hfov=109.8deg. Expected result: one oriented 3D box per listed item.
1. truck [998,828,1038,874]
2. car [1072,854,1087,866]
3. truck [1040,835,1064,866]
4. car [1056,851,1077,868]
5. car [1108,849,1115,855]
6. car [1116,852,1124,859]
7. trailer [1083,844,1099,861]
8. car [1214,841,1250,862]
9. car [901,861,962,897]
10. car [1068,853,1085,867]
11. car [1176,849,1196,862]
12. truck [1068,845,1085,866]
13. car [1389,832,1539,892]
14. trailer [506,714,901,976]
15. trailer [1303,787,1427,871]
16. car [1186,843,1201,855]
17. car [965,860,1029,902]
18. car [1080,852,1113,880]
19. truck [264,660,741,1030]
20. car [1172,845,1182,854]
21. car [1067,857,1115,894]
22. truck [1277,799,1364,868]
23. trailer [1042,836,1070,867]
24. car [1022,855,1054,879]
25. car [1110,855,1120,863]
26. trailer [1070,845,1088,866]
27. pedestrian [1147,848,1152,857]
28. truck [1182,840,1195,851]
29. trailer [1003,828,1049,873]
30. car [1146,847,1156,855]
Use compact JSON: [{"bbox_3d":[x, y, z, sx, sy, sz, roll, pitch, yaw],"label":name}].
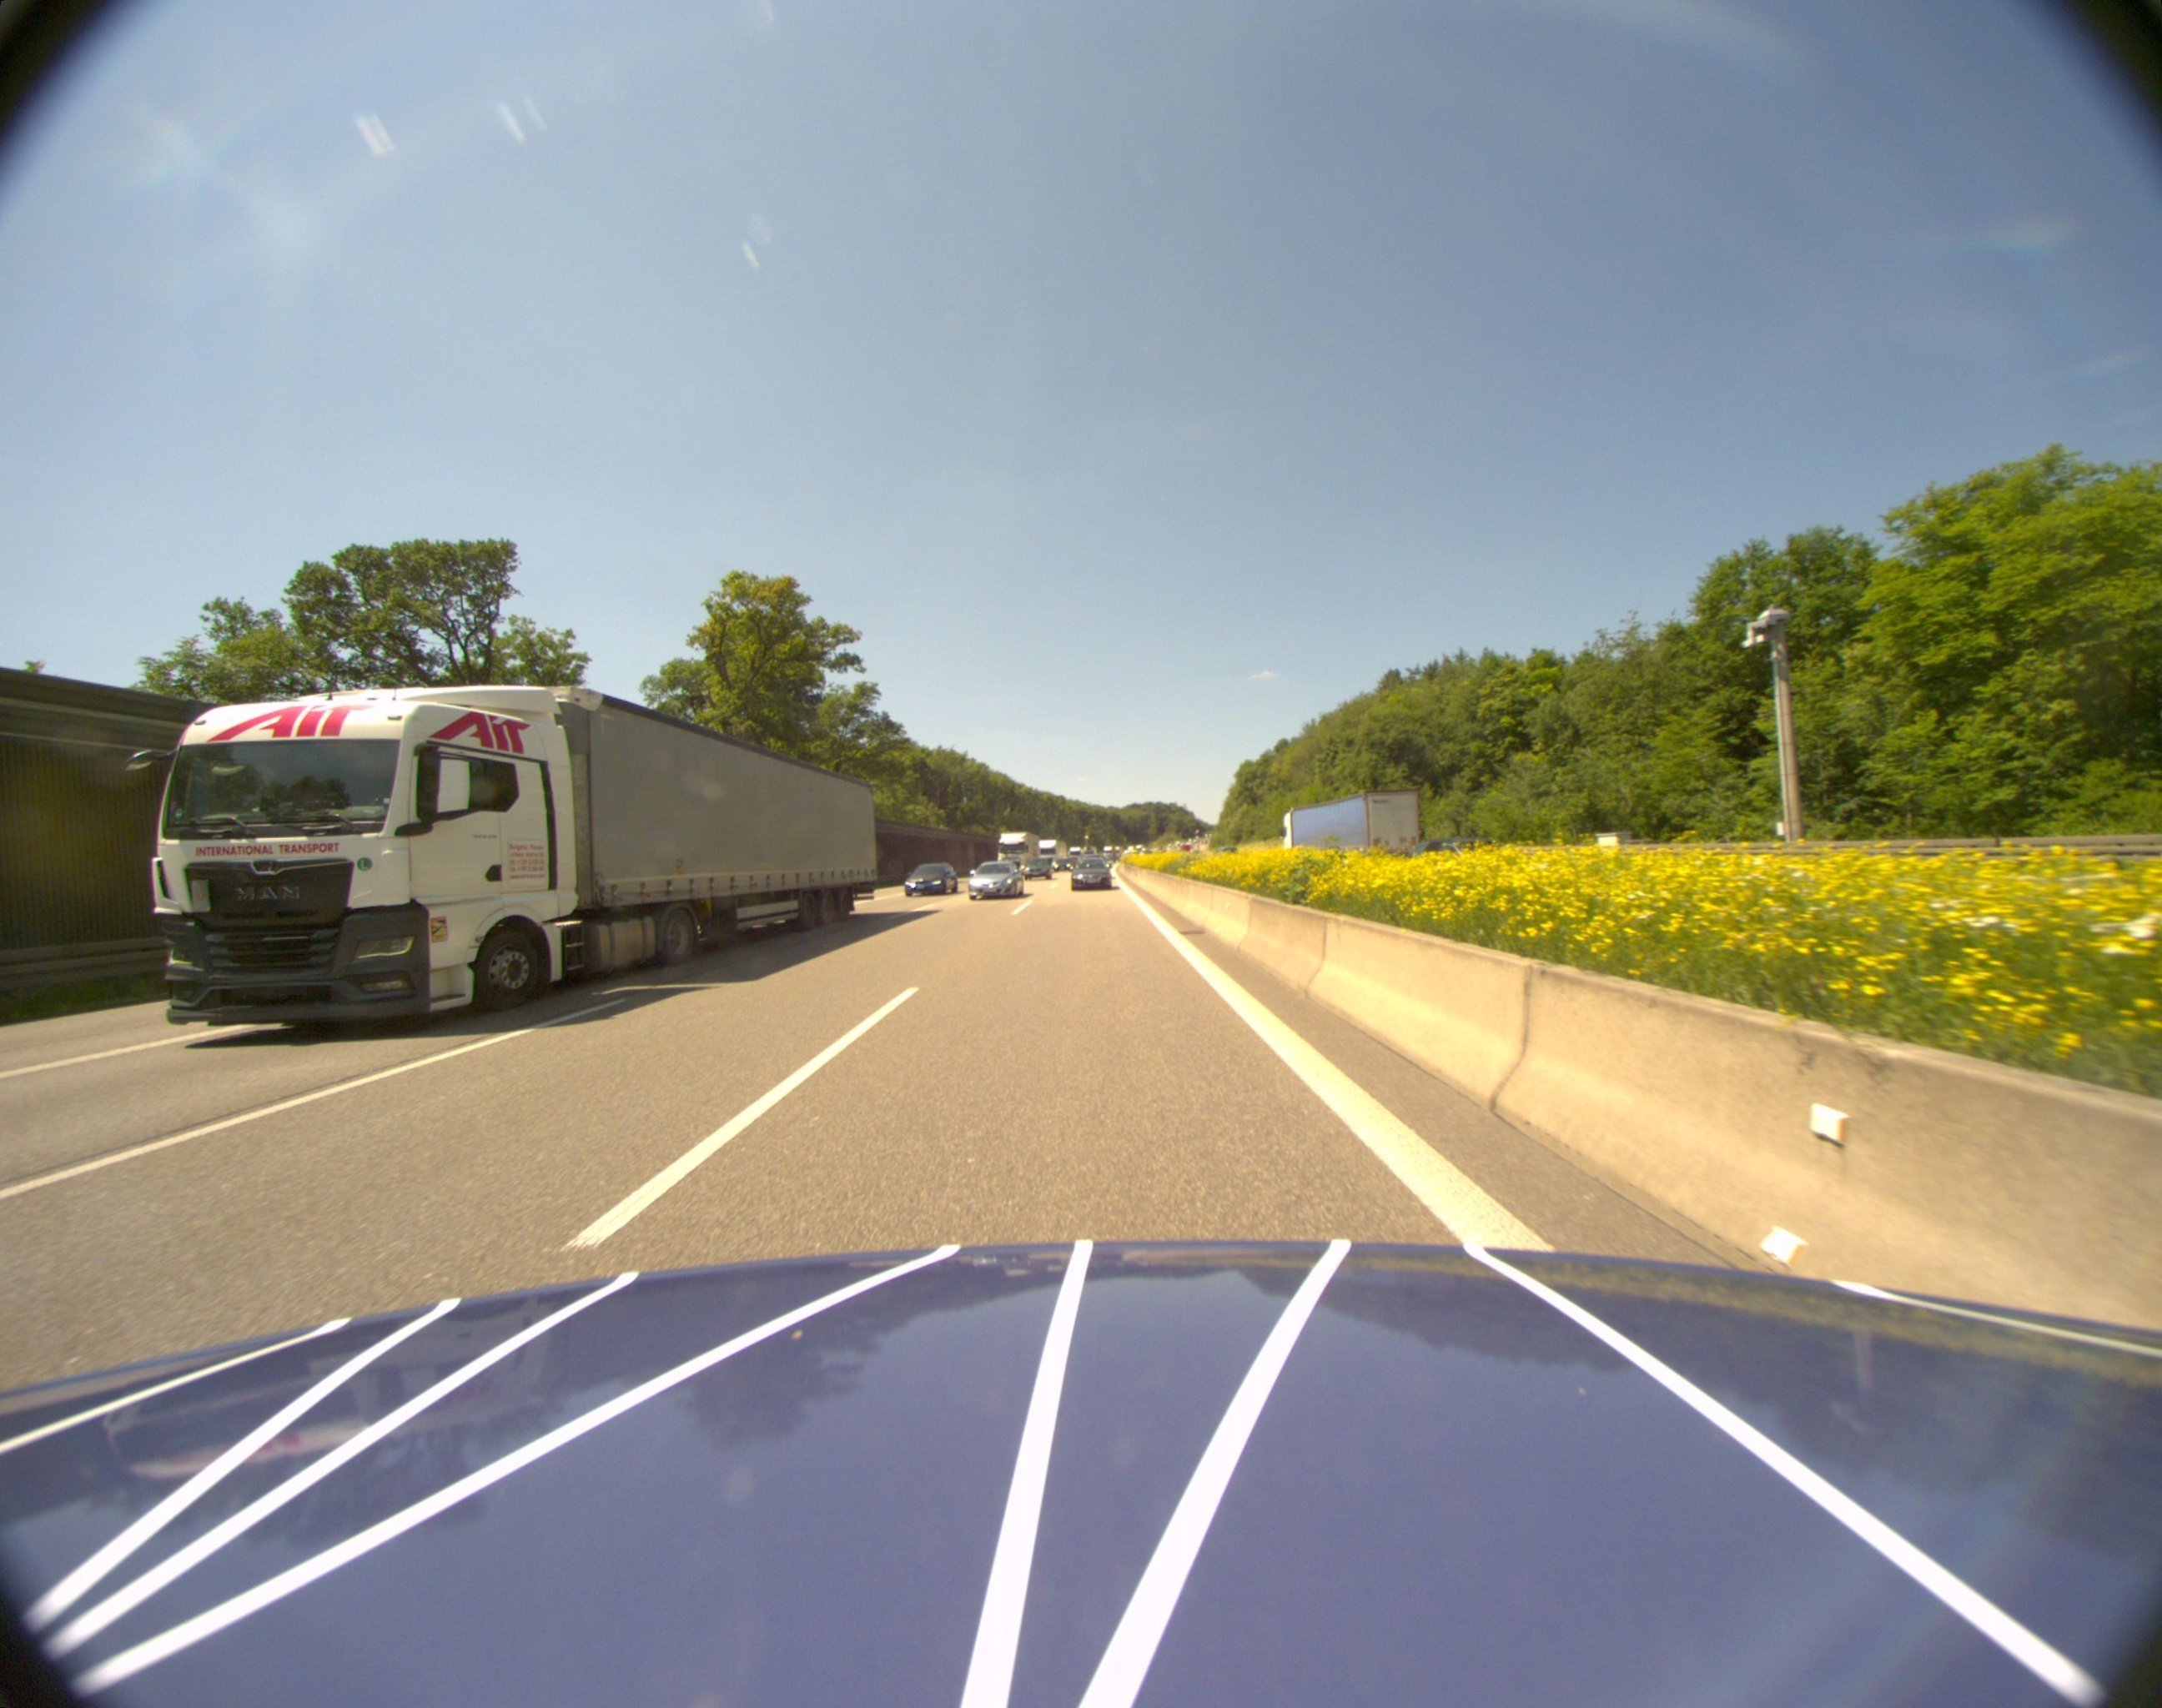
[{"bbox_3d":[-5.965,-0.292,73.007,2.811,4.190,5.422,-3,0,4],"label":"truck"},{"bbox_3d":[-0.185,0.924,116.273,1.998,1.641,4.000,-3,0,3],"label":"car"},{"bbox_3d":[-4.047,-0.534,107.086,2.544,4.150,4.747,-3,0,6],"label":"truck"},{"bbox_3d":[-1.532,0.600,81.084,1.998,1.641,4.000,-3,0,2],"label":"car"},{"bbox_3d":[10.380,-0.668,257.836,1.998,1.641,4.000,-3,0,3],"label":"car"},{"bbox_3d":[9.877,0.448,192.587,1.998,1.641,4.000,-3,0,3],"label":"car"},{"bbox_3d":[2.573,-0.369,197.386,3.154,4.061,6.185,-3,0,7],"label":"trailer"},{"bbox_3d":[12.132,-0.214,61.293,1.998,1.552,4.639,-3,0,0],"label":"car"},{"bbox_3d":[-6.923,1.124,35.623,1.860,1.484,4.177,-3,0,2],"label":"car"},{"bbox_3d":[-0.557,0.735,97.701,1.998,1.641,4.000,-3,0,3],"label":"car"},{"bbox_3d":[13.158,0.160,95.428,1.809,1.480,4.000,-3,0,0],"label":"car"},{"bbox_3d":[-0.925,0.283,162.852,2.853,4.382,5.240,-3,0,4],"label":"truck"},{"bbox_3d":[11.415,0.209,23.098,2.143,1.521,4.799,-3,0,1],"label":"car"},{"bbox_3d":[-7.629,-0.203,18.922,2.604,4.067,13.591,-2,1,1],"label":"trailer"},{"bbox_3d":[14.870,-1.198,40.887,2.788,3.834,10.169,-3,0,0],"label":"trailer"},{"bbox_3d":[18.498,-0.792,125.019,1.886,1.755,4.322,-3,0,1],"label":"car"},{"bbox_3d":[-3.266,1.007,30.267,1.860,1.426,4.177,-3,0,2],"label":"car"},{"bbox_3d":[1.098,0.762,50.564,1.998,1.641,4.000,-2,1,3],"label":"car"},{"bbox_3d":[-7.763,-0.118,11.354,2.604,4.067,5.552,-2,1,1],"label":"truck"},{"bbox_3d":[28.553,-1.271,226.129,2.161,2.608,5.976,-2,0,2],"label":"car"},{"bbox_3d":[0.445,0.904,33.181,1.907,1.410,4.000,-3,0,1],"label":"car"},{"bbox_3d":[14.925,-1.188,48.149,2.755,3.834,8.413,-3,0,0],"label":"truck"},{"bbox_3d":[-3.563,-0.362,111.691,2.541,4.149,10.180,-3,0,6],"label":"trailer"},{"bbox_3d":[-2.985,0.880,53.661,1.907,1.550,4.000,-3,0,1],"label":"car"},{"bbox_3d":[7.227,1.037,160.884,1.998,1.641,4.000,-3,0,3],"label":"car"},{"bbox_3d":[-0.357,0.239,170.501,2.853,4.391,13.030,-3,0,4],"label":"trailer"},{"bbox_3d":[11.137,-0.222,123.323,0.663,1.357,0.532,-3,1,0],"label":"pedestrian"},{"bbox_3d":[36.918,-2.884,261.165,3.929,3.697,16.747,-2,0,7],"label":"truck"},{"bbox_3d":[-5.543,-0.329,79.584,2.821,4.190,13.468,-3,0,4],"label":"trailer"},{"bbox_3d":[17.907,-0.812,195.200,2.328,2.002,6.184,-2,0,4],"label":"car"}]
